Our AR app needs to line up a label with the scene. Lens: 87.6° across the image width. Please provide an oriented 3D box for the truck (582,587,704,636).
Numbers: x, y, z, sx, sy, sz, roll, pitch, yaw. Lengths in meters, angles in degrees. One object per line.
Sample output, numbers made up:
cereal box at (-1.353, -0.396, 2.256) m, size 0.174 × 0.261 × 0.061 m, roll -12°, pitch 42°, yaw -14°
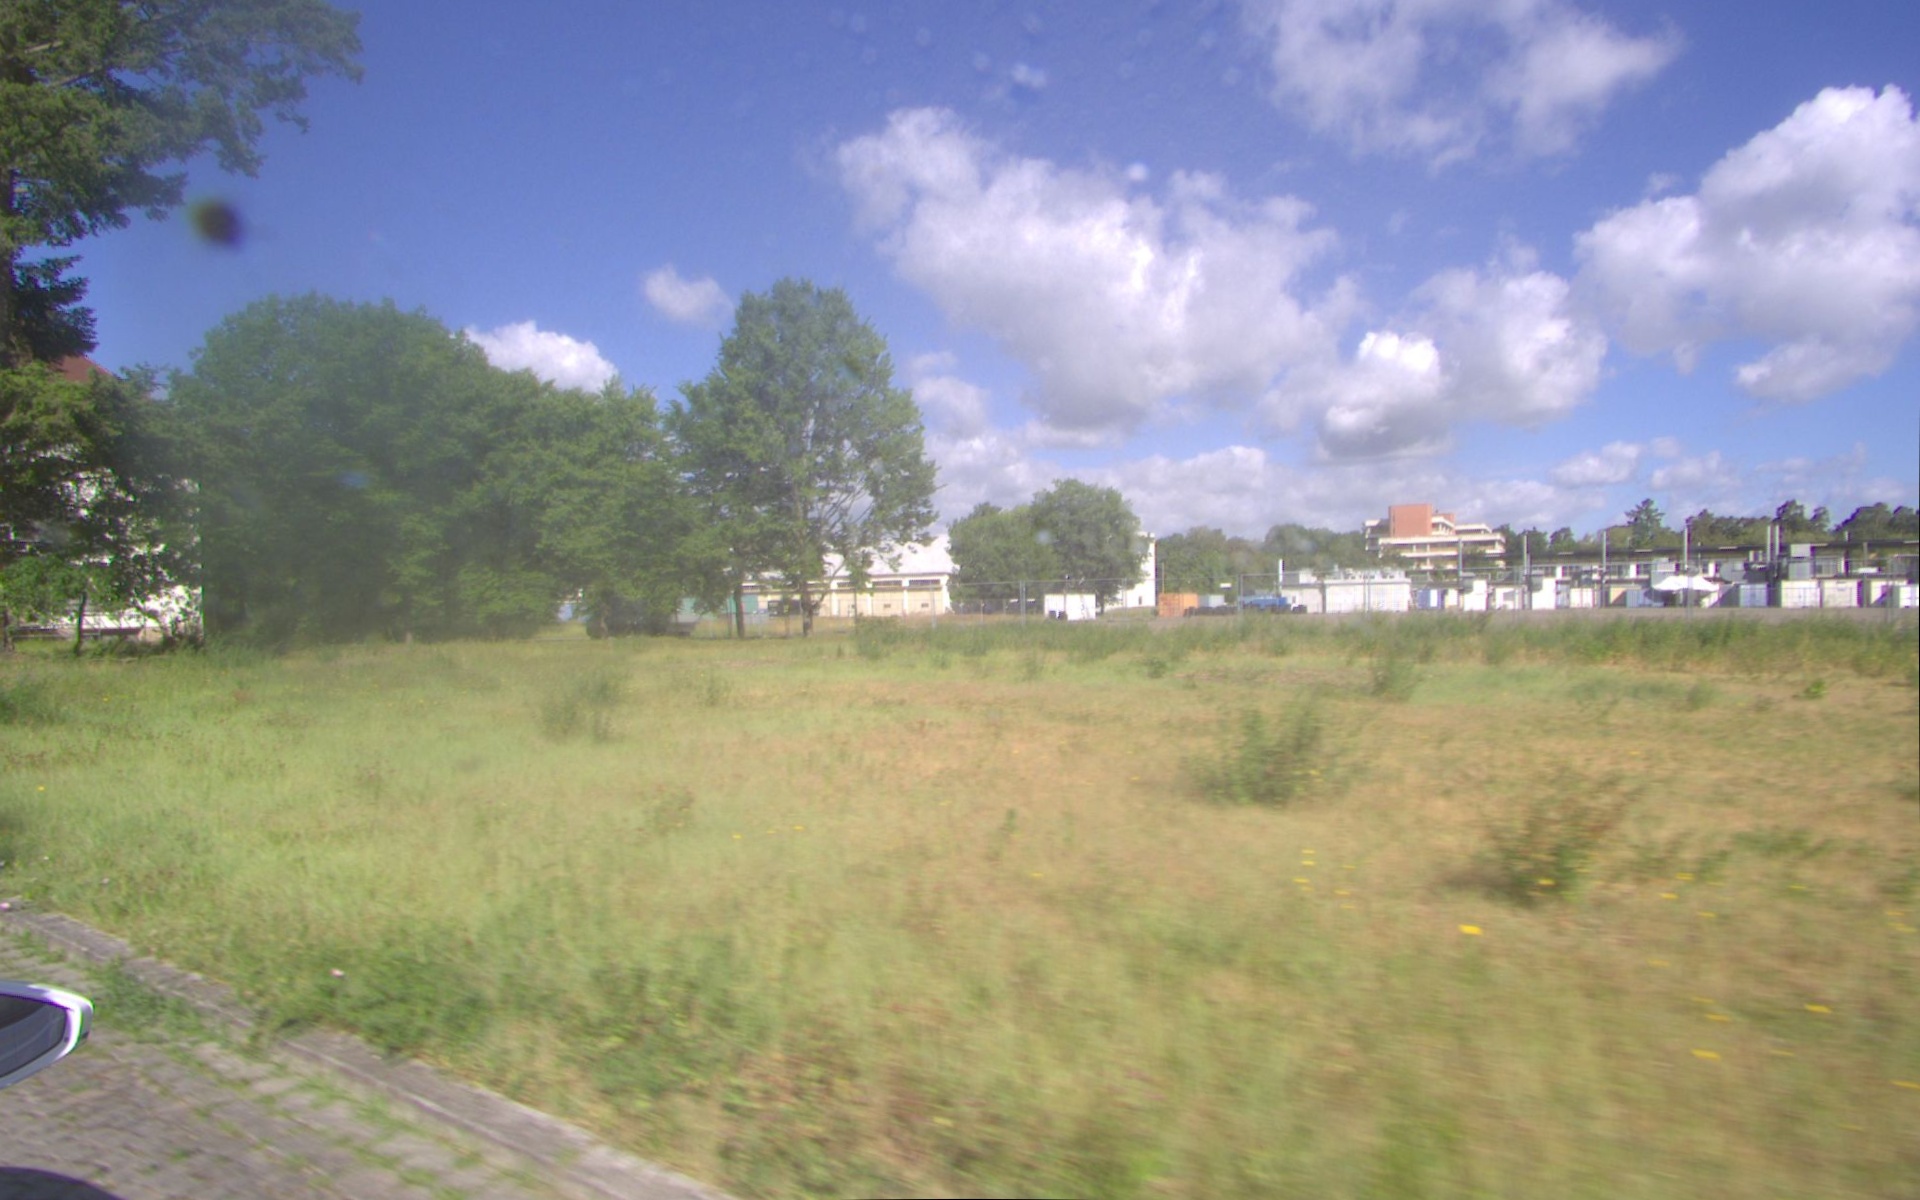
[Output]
truck at (-16.707, 0.651, 52.586) m, size 6.786 × 2.455 × 2.229 m, roll -1°, pitch -1°, yaw 32°
